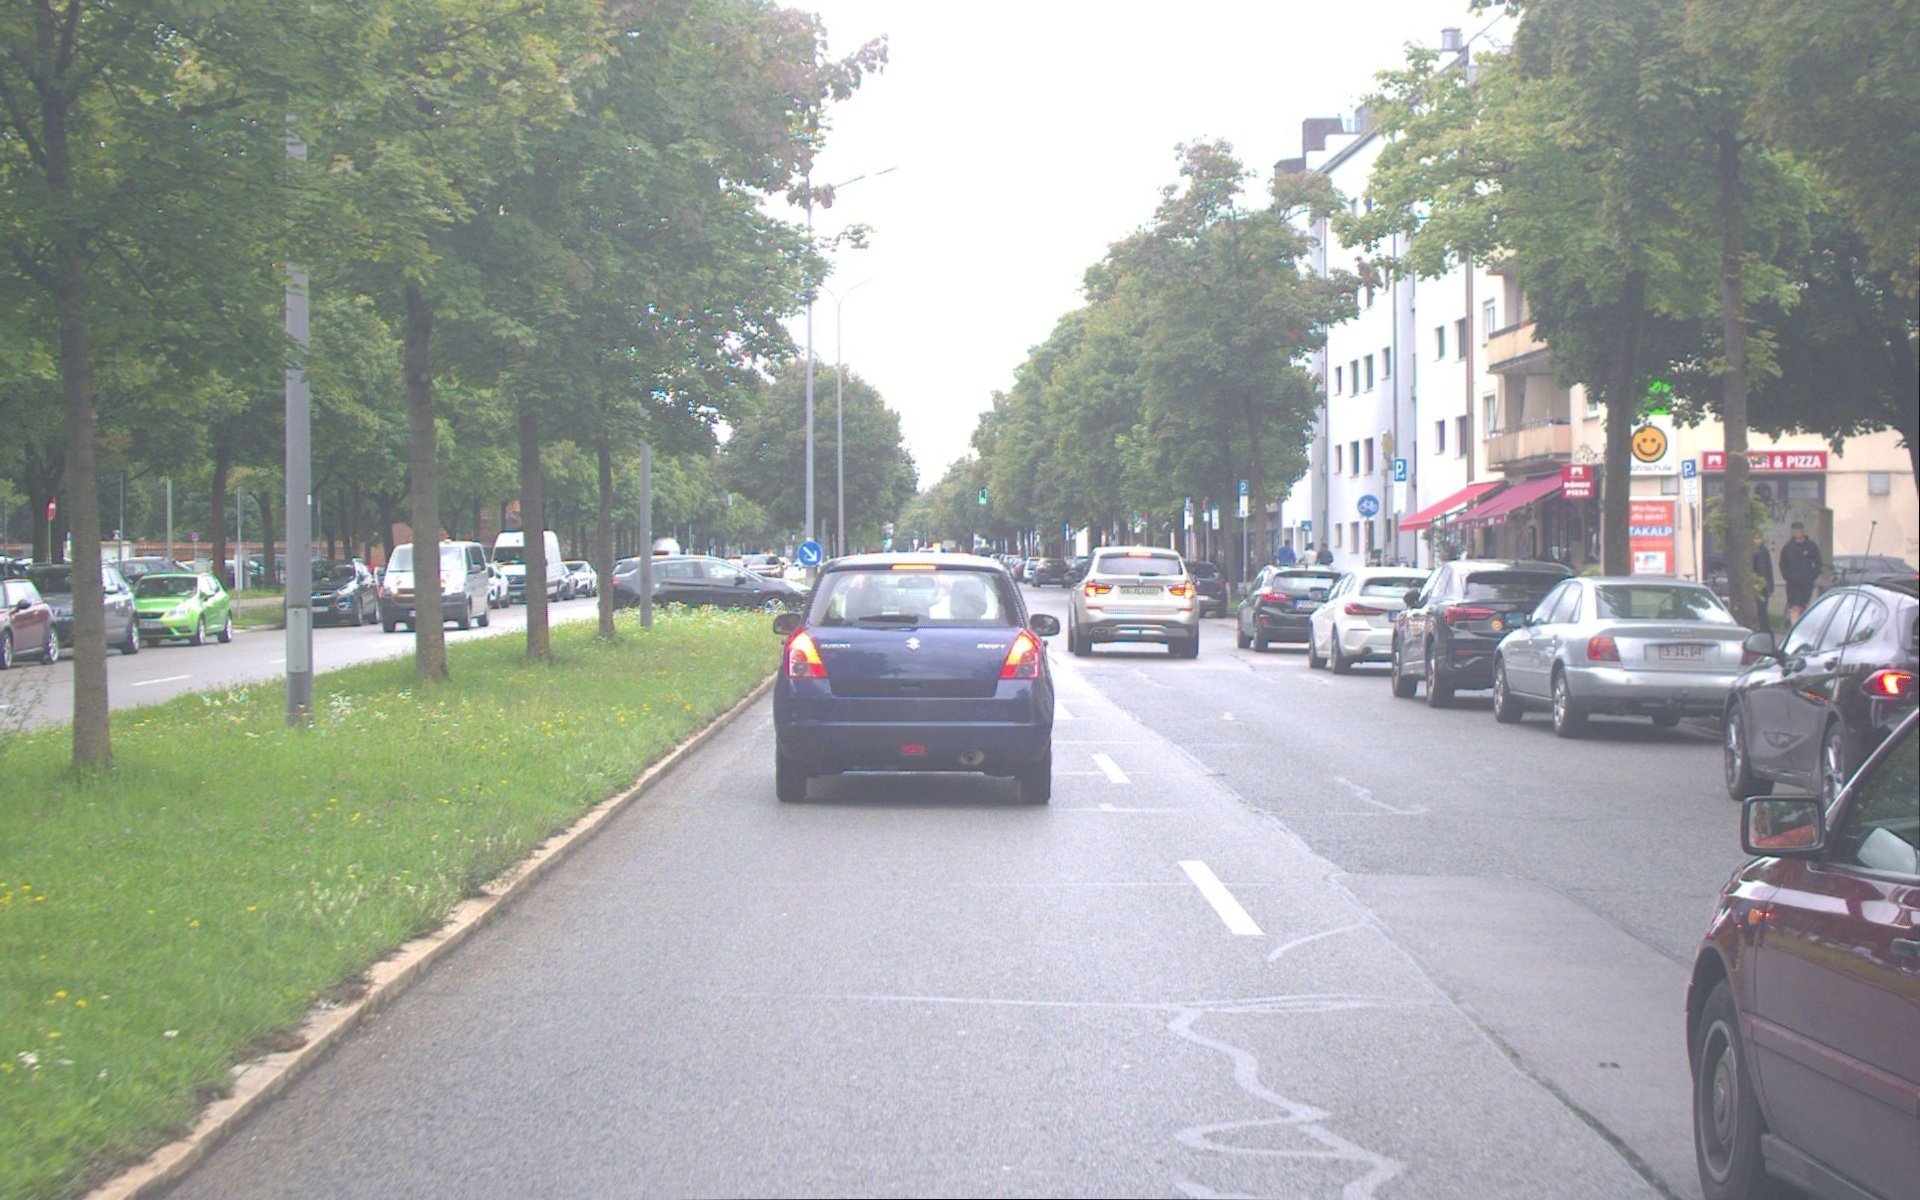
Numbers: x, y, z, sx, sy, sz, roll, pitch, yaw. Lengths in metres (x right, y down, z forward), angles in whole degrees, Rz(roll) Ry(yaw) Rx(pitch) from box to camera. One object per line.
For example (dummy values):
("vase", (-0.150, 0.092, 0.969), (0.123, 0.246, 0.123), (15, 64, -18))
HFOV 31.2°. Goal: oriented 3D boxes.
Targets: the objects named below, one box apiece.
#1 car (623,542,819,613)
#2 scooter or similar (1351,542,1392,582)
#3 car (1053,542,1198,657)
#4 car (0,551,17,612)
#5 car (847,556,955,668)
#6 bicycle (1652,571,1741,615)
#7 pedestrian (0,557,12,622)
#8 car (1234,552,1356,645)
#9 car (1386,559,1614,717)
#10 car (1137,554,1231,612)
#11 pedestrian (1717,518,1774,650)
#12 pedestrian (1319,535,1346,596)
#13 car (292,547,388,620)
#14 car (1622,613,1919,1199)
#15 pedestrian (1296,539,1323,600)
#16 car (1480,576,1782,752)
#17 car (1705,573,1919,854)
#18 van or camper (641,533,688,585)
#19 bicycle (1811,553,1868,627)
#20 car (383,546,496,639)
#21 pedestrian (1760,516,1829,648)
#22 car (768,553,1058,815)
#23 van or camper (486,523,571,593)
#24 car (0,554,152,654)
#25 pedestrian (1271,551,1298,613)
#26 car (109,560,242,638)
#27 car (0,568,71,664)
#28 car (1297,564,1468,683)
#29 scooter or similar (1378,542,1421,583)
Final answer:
("car", (-5.123, -0.499, 73.437), (4.121, 1.463, 1.840), (0, 1, -6))
("scooter or similar", (13.732, -1.287, 114.748), (1.033, 1.303, 2.755), (0, 1, 0))
("car", (2.505, -0.047, 52.952), (1.865, 1.655, 4.408), (1, 1, -1))
("car", (-28.686, -0.540, 96.677), (3.918, 1.712, 1.673), (1, 1, -5))
("car", (-0.837, 0.139, 47.668), (1.444, 1.478, 3.107), (0, 1, -1))
("bicycle", (16.381, -0.161, 76.446), (1.847, 0.954, 0.557), (1, 0, -1))
("pedestrian", (-22.925, -0.250, 81.427), (0.727, 1.528, 0.721), (1, 0, 0))
("car", (5.581, -0.051, 57.595), (1.617, 1.460, 3.674), (2, 1, -1))
("car", (5.726, 0.361, 36.879), (1.716, 1.528, 4.276), (1, 1, 0))
("car", (5.705, -0.448, 88.108), (1.865, 1.412, 4.225), (-1, 1, -4))
("pedestrian", (11.407, -0.236, 49.928), (0.588, 1.883, 0.902), (-1, 1, -1))
("pedestrian", (12.316, -1.156, 113.674), (0.794, 2.007, 1.006), (0, 1, 0))
("car", (-15.213, -0.428, 84.490), (1.716, 1.735, 3.879), (1, 1, -1))
("car", (2.527, 0.767, 6.475), (1.682, 1.379, 3.919), (1, 1, -1))
("pedestrian", (11.508, -1.000, 113.146), (0.794, 2.007, 1.006), (0, 1, 0))
("car", (5.947, 0.523, 30.922), (1.635, 1.381, 4.245), (1, 1, -3))
("car", (5.777, 0.609, 20.544), (1.750, 1.460, 4.176), (1, 1, 1))
("van or camper", (-19.121, -2.640, 222.764), (2.561, 3.284, 6.938), (1, 1, -1))
("bicycle", (13.436, -0.157, 52.532), (0.381, 1.099, 1.883), (1, 1, 0))
("car", (-11.465, -0.194, 76.027), (1.799, 1.927, 4.994), (-2, 1, -1))
("pedestrian", (12.114, -0.267, 49.922), (0.729, 1.883, 0.919), (-1, 1, -1))
("car", (-0.325, 0.462, 21.956), (1.682, 1.496, 3.919), (0, 1, -1))
("van or camper", (-15.779, -1.531, 126.018), (2.117, 2.473, 7.449), (1, 1, 0))
("car", (-15.190, 0.034, 58.894), (1.690, 1.581, 4.371), (-2, 1, -1))
("pedestrian", (10.687, -0.594, 113.223), (0.794, 2.007, 1.006), (0, 1, 0))
("car", (-15.273, -0.046, 67.072), (1.547, 1.404, 3.879), (-2, 1, 2))
("car", (-15.100, 0.243, 53.284), (1.591, 1.392, 3.630), (-2, 1, 1))
("car", (5.726, 0.284, 46.989), (1.682, 1.460, 4.137), (2, 1, -1))
("scooter or similar", (14.007, -1.206, 109.716), (1.033, 1.303, 2.755), (0, 1, 0))
